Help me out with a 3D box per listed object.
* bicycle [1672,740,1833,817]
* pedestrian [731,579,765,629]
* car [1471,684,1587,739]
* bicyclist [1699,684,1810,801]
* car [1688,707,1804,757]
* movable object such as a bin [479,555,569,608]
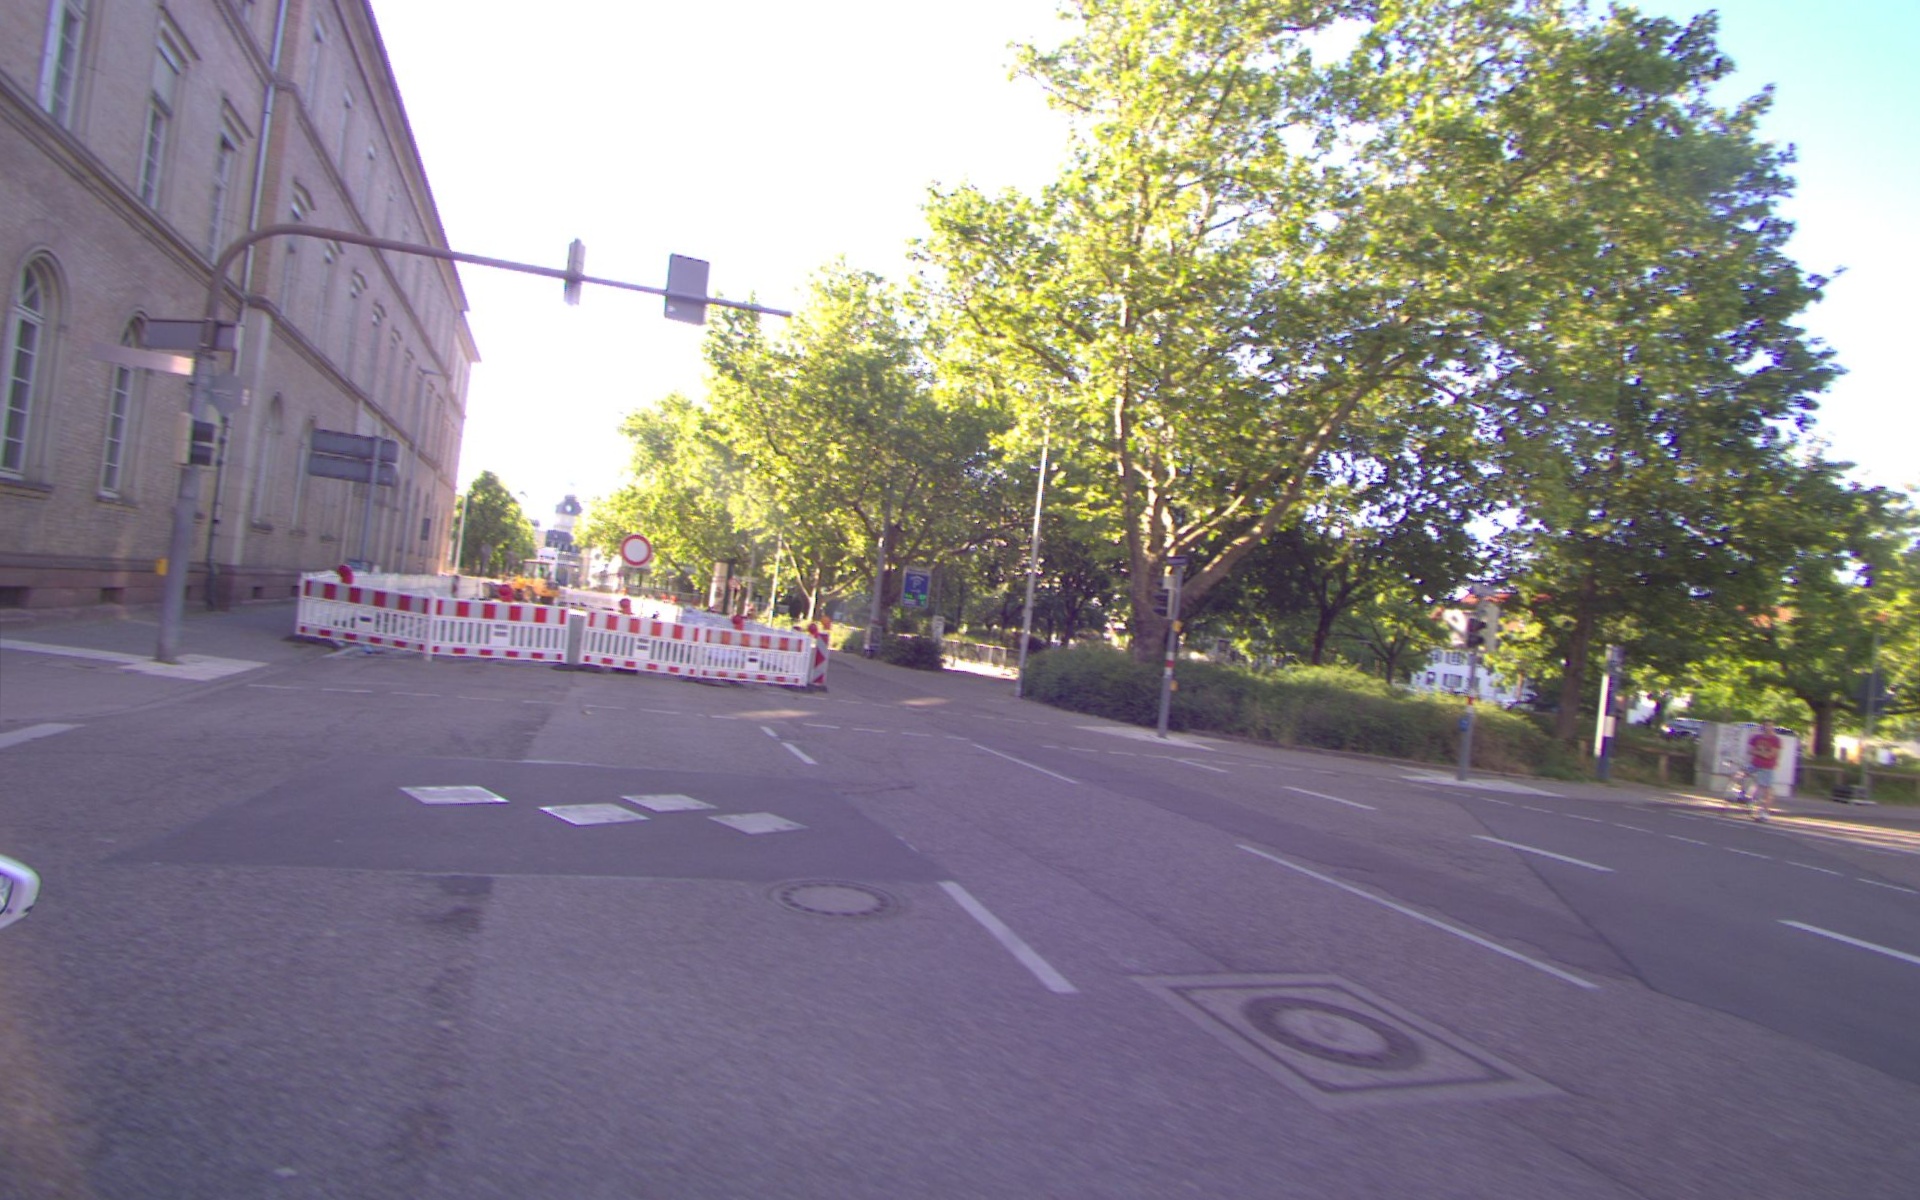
[{"bbox_3d":[13.743,3.098,17.411,2.969,1.050,0.937,8,-1,-26],"label":"bicycle"},{"bbox_3d":[-12.232,0.235,58.108,1.397,2.699,1.149,6,-1,4],"label":"pedestrian"},{"bbox_3d":[25.008,4.870,44.374,1.973,1.800,3.981,7,-2,-22],"label":"car"},{"bbox_3d":[13.672,2.442,17.327,1.117,1.829,0.972,7,-1,-25],"label":"bicyclist"},{"bbox_3d":[38.715,6.503,49.666,1.973,1.800,3.981,7,-2,-22],"label":"car"},{"bbox_3d":[-28.456,-1.185,65.727,4.752,2.810,2.475,6,-1,20],"label":"movable object such as a bin"}]
